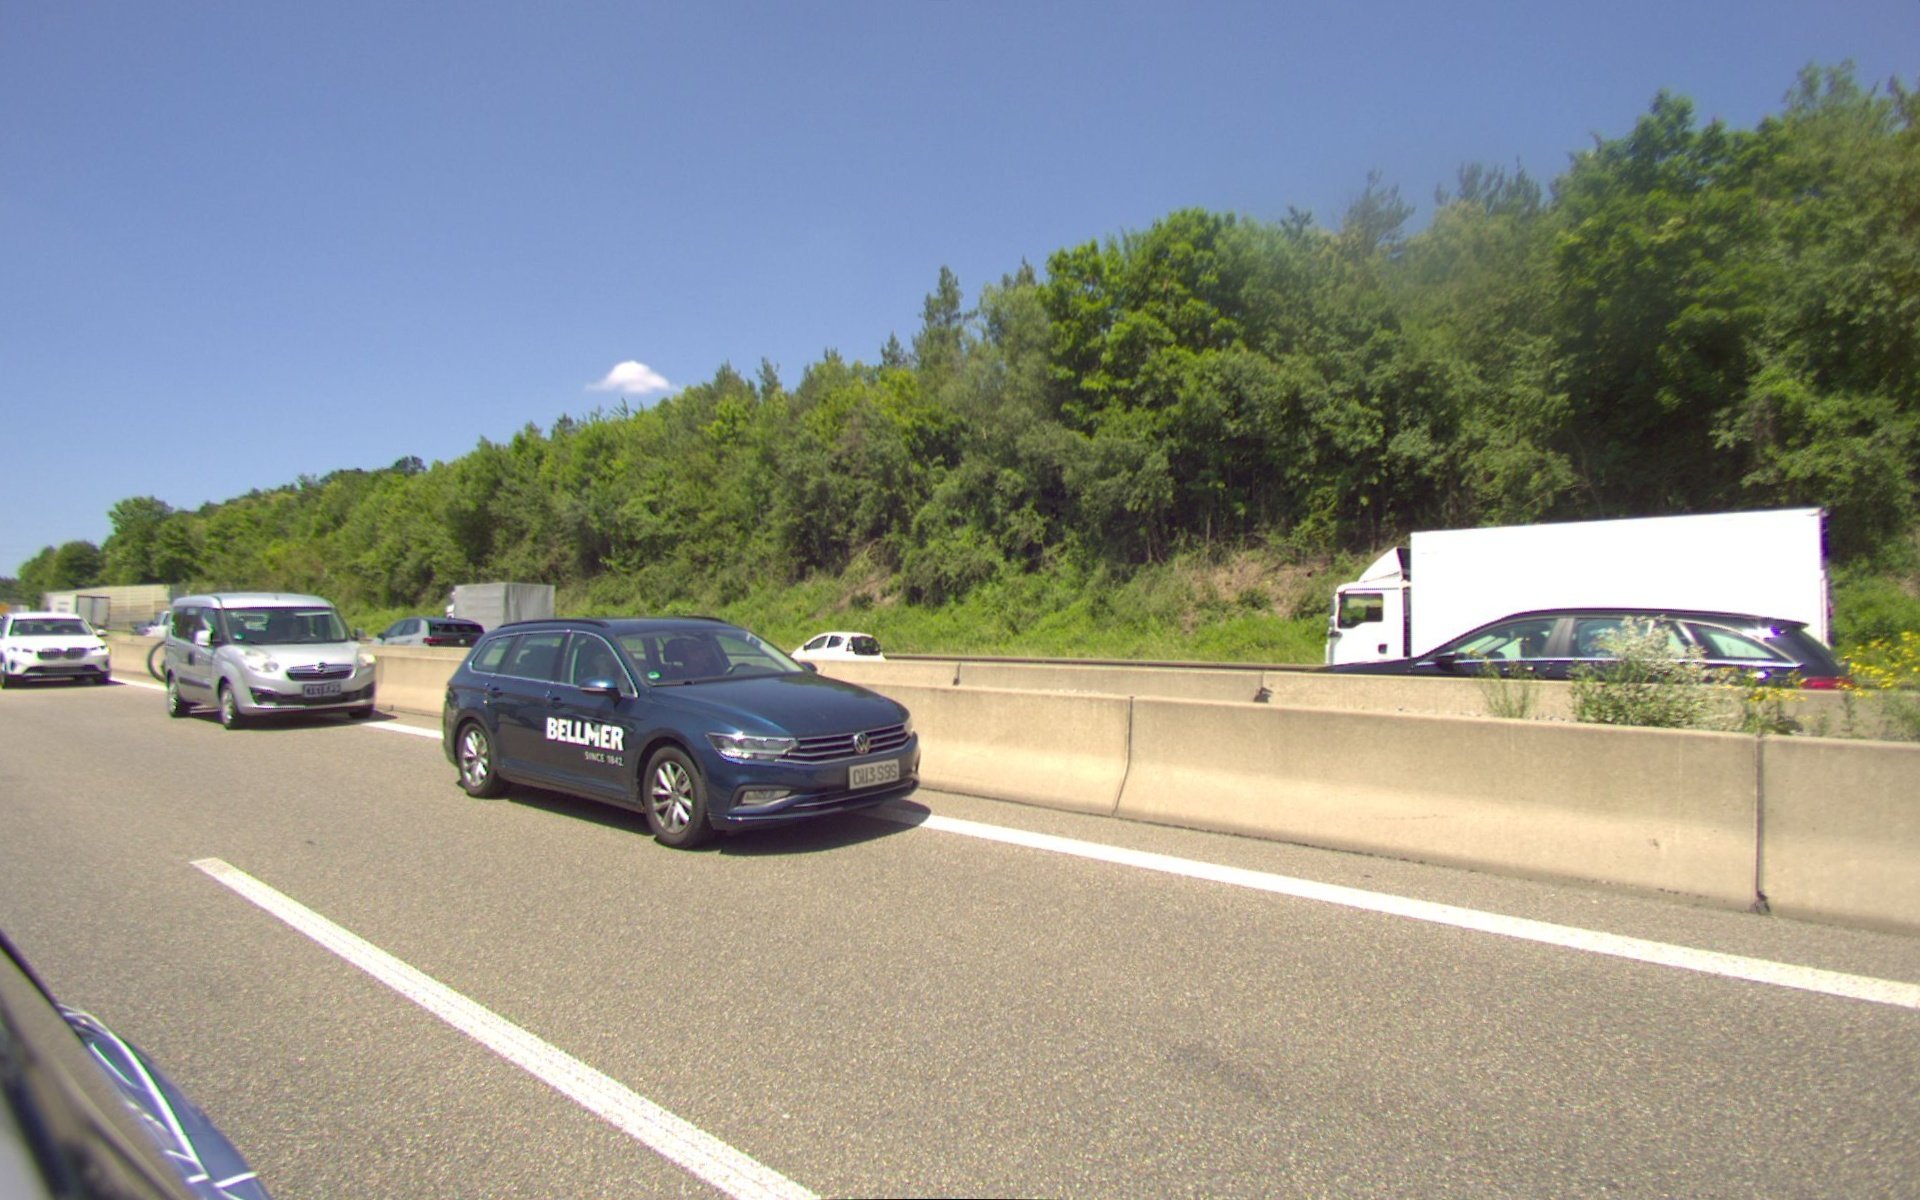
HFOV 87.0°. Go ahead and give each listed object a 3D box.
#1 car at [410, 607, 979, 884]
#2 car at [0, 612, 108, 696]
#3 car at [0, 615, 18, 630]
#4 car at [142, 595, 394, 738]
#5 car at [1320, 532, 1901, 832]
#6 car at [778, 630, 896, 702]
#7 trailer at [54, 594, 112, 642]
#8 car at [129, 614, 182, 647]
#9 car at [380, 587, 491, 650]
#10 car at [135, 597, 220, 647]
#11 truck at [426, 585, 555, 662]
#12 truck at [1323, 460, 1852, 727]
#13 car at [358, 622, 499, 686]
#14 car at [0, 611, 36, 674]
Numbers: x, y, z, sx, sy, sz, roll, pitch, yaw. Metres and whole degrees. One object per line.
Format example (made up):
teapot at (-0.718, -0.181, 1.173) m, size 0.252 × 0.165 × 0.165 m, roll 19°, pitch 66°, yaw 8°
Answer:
car at (-2.237, 0.797, 7.628) m, size 4.675 × 1.461 × 1.855 m, roll -1°, pitch 0°, yaw 41°
car at (-21.185, 1.161, 23.297) m, size 3.998 × 1.719 × 1.801 m, roll 0°, pitch 0°, yaw 41°
car at (-134.918, 3.100, 143.015) m, size 4.472 × 2.029 × 2.093 m, roll 0°, pitch 0°, yaw 38°
car at (-10.270, 0.828, 14.857) m, size 4.914 × 1.786 × 1.833 m, roll 0°, pitch 0°, yaw 40°
car at (5.518, 0.555, 8.921) m, size 3.999 × 2.029 × 1.972 m, roll 0°, pitch 0°, yaw 42°
car at (-3.913, 2.026, 31.978) m, size 3.511 × 2.029 × 1.832 m, roll 0°, pitch 0°, yaw 41°
trailer at (-87.716, 1.716, 101.150) m, size 10.810 × 4.515 × 2.919 m, roll 0°, pitch 0°, yaw 41°
car at (-48.096, 1.761, 60.477) m, size 4.291 × 1.851 × 1.766 m, roll 0°, pitch 0°, yaw 41°
car at (-18.198, 0.600, 35.020) m, size 4.418 × 2.029 × 1.972 m, roll 0°, pitch 0°, yaw 42°
car at (-33.503, 0.884, 43.287) m, size 4.955 × 2.029 × 1.973 m, roll 0°, pitch 0°, yaw 41°
truck at (-19.058, 0.878, 40.885) m, size 6.738 × 2.906 × 2.155 m, roll 0°, pitch 0°, yaw 40°
truck at (11.215, -0.089, 18.844) m, size 7.984 × 4.019 × 2.665 m, roll 0°, pitch 0°, yaw 40°
car at (-13.520, 1.314, 25.670) m, size 3.997 × 1.506 × 1.806 m, roll -1°, pitch -2°, yaw 40°
car at (-29.151, 1.233, 30.083) m, size 3.996 × 1.770 × 1.974 m, roll 0°, pitch 0°, yaw 40°
